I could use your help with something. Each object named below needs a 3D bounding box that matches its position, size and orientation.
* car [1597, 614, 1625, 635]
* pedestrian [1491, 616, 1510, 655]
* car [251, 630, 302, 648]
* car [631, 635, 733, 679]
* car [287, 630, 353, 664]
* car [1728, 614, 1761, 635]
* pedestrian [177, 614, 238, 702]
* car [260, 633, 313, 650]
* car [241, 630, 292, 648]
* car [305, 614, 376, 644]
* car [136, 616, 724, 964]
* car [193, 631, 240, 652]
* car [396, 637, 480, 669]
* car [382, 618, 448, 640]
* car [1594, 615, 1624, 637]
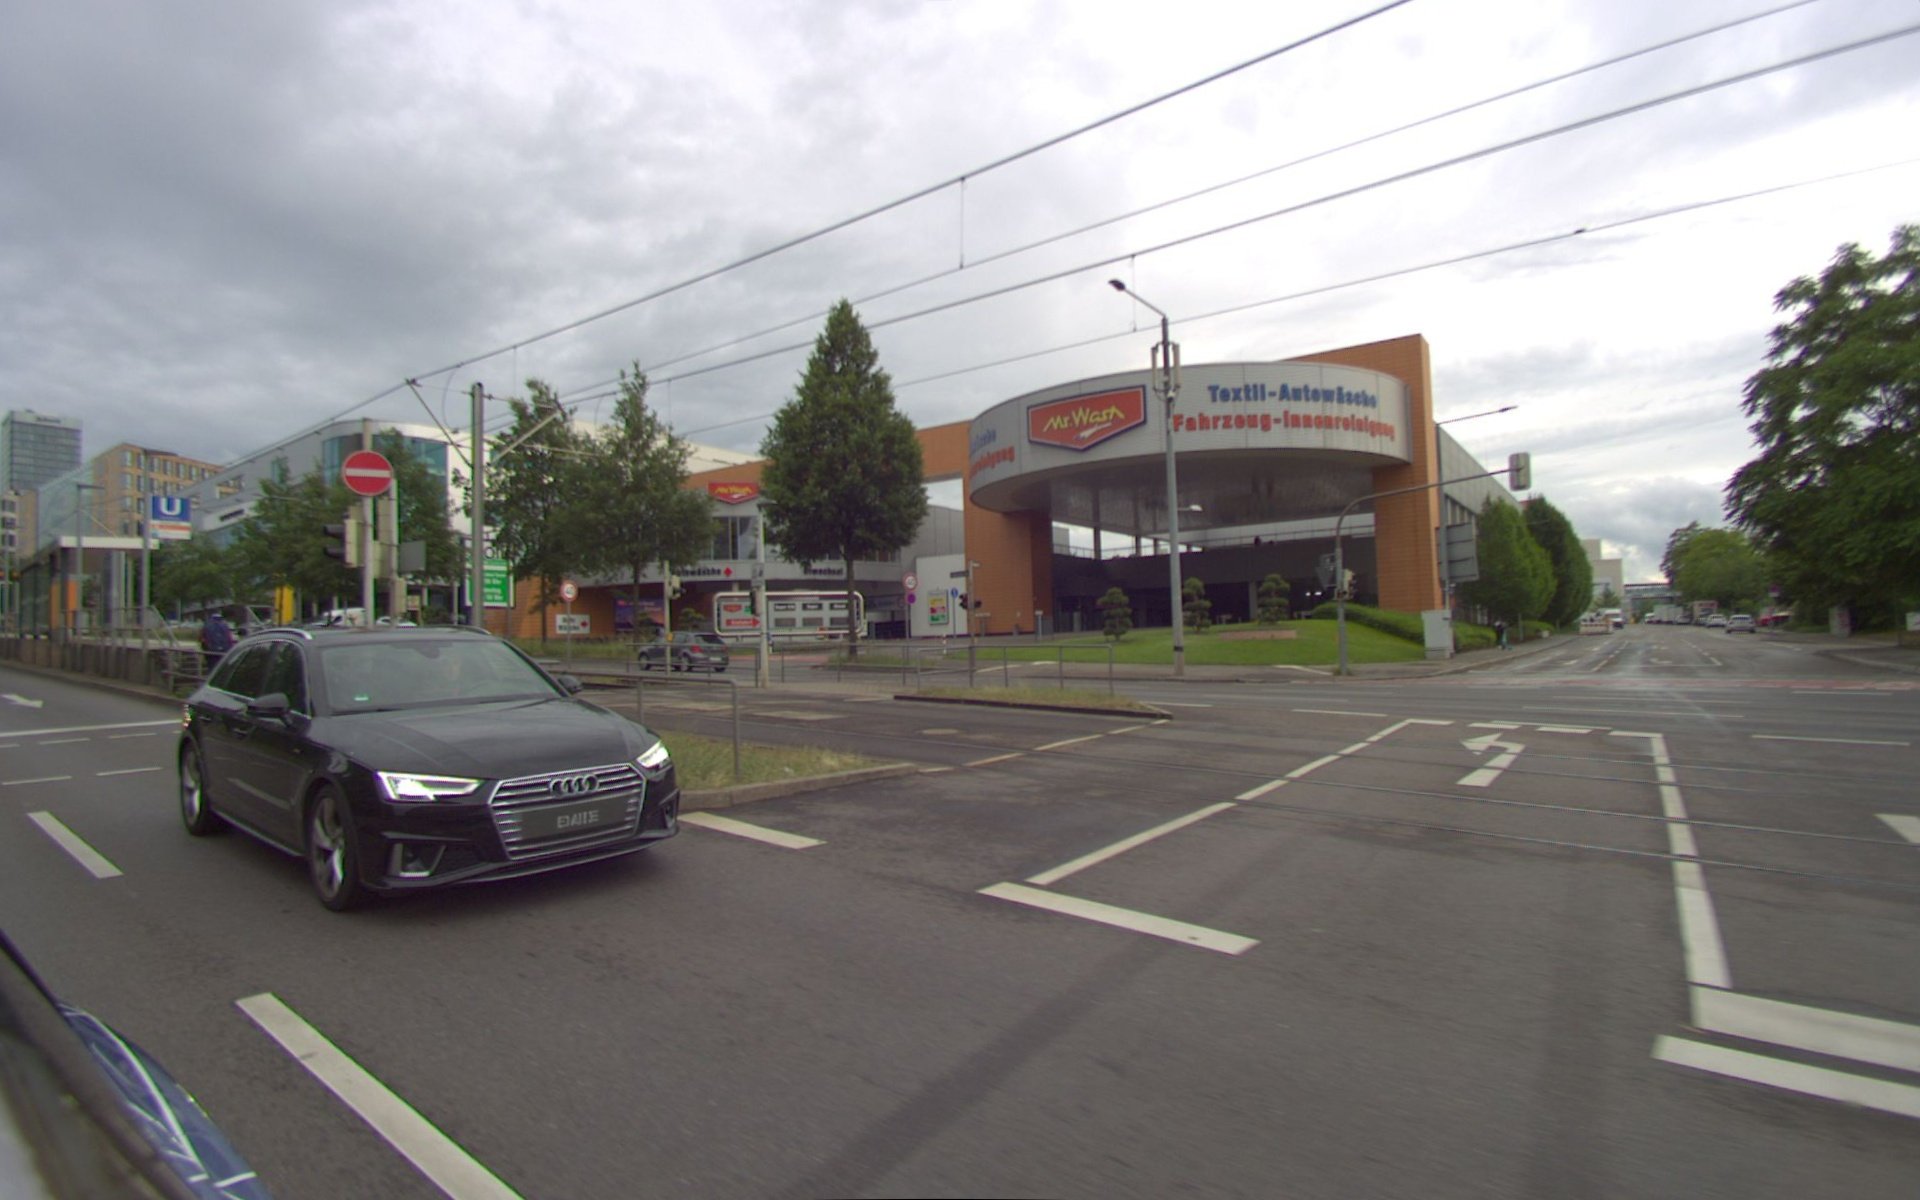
[{"bbox_3d":[67.689,2.518,105.177,2.236,2.029,3.951,-2,0,36],"label":"car"},{"bbox_3d":[28.874,1.873,54.039,0.775,2.045,0.876,-2,-2,31],"label":"pedestrian"},{"bbox_3d":[-71.030,4.062,105.146,1.917,1.674,3.954,-2,0,34],"label":"car"},{"bbox_3d":[-9.844,1.985,35.735,3.777,1.434,1.710,-2,-2,41],"label":"car"},{"bbox_3d":[-35.855,2.604,56.639,4.387,1.788,1.972,-2,-2,42],"label":"car"},{"bbox_3d":[62.264,1.914,80.368,1.871,1.608,3.927,-2,-2,35],"label":"car"},{"bbox_3d":[-14.548,1.108,19.577,0.643,1.663,0.700,-2,-1,13],"label":"pedestrian"},{"bbox_3d":[-67.608,4.172,101.617,1.892,1.519,3.956,-1,0,33],"label":"car"},{"bbox_3d":[-73.159,4.113,106.760,1.917,1.674,3.954,-2,1,34],"label":"car"},{"bbox_3d":[-58.933,2.762,96.320,2.265,2.648,5.441,-1,0,24],"label":"car"},{"bbox_3d":[-3.708,0.889,6.560,4.826,1.445,1.771,-2,-2,41],"label":"car"},{"bbox_3d":[-59.995,3.333,81.612,4.703,1.529,1.974,-1,0,40],"label":"car"},{"bbox_3d":[-24.288,2.447,47.042,4.384,1.438,1.835,-2,-4,39],"label":"car"},{"bbox_3d":[-54.617,2.875,101.476,2.274,1.940,5.420,-1,0,35],"label":"car"},{"bbox_3d":[64.215,2.590,100.163,2.236,2.029,3.951,-2,0,36],"label":"car"}]
